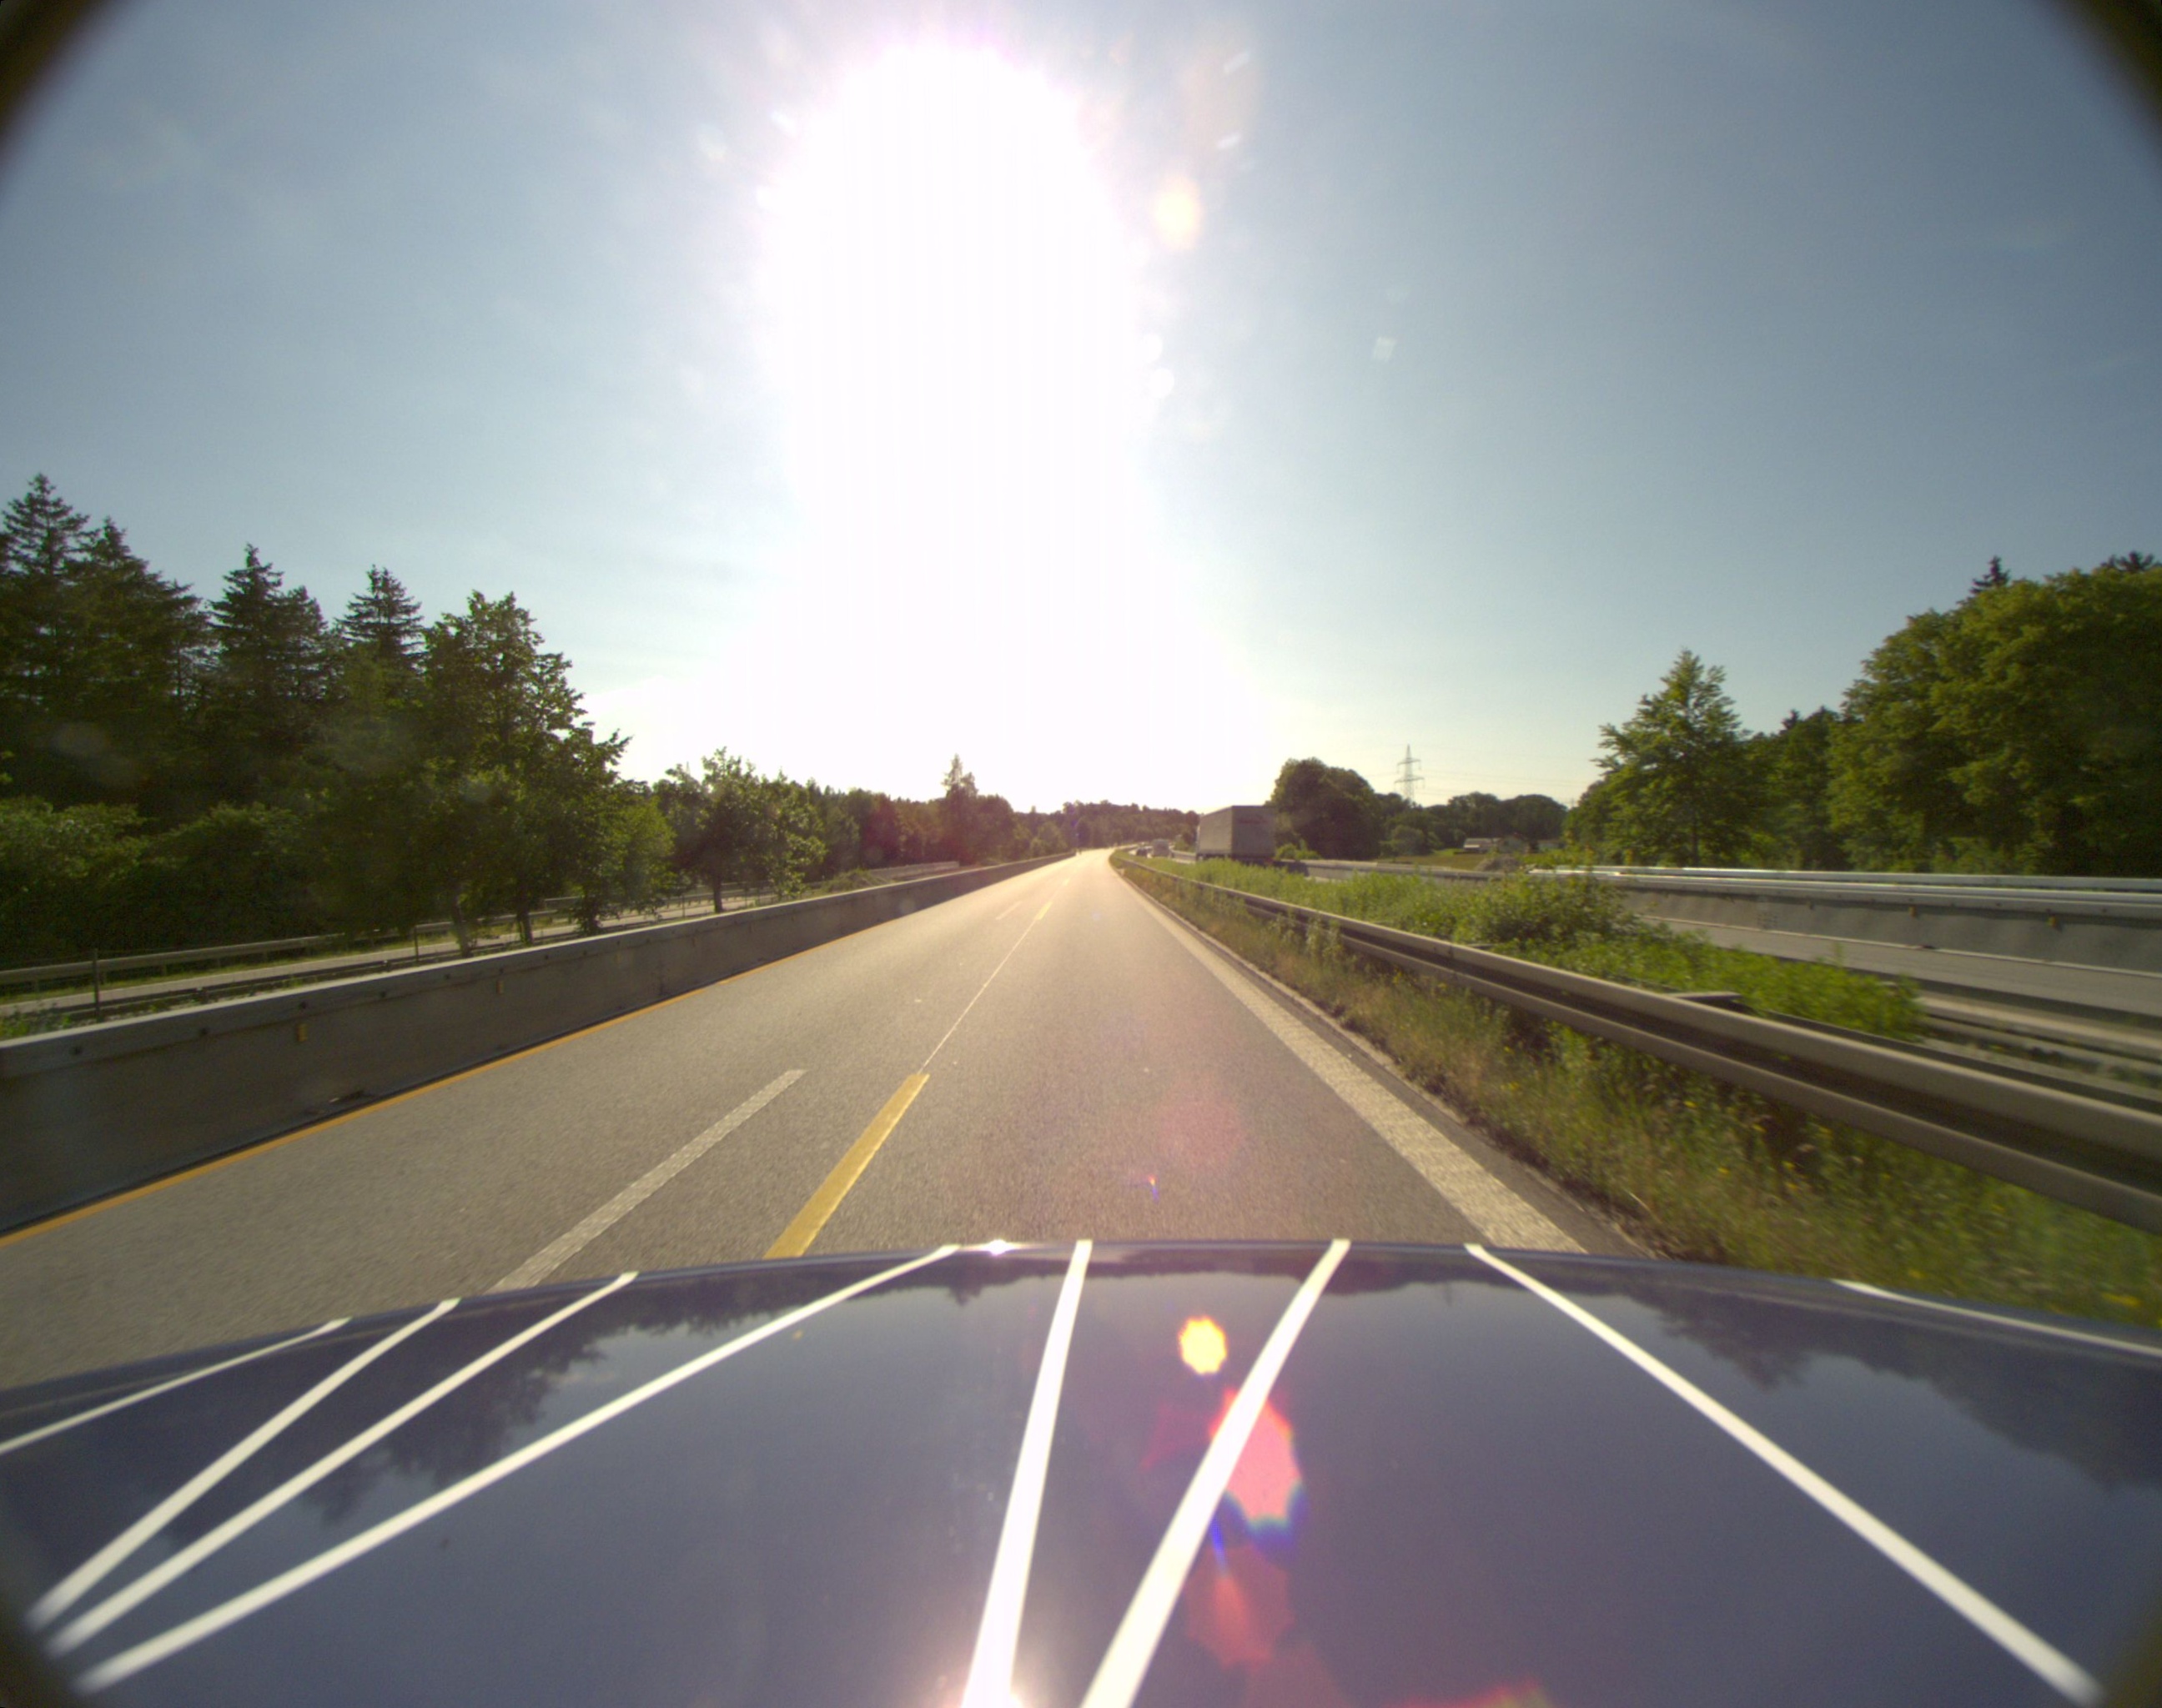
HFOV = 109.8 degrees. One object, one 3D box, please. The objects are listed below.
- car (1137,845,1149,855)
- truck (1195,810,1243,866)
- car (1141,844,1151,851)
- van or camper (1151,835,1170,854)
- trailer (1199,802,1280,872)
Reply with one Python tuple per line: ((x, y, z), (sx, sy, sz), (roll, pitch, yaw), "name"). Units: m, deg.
((9.943, -0.667, 121.464), (1.746, 1.521, 4.000), (1, 1, 2), "car")
((10.416, -1.183, 57.861), (2.777, 4.064, 5.475), (0, 1, 1), "truck")
((14.107, -1.401, 165.081), (1.705, 1.424, 4.955), (1, 1, 2), "car")
((12.213, -1.447, 117.512), (2.412, 2.933, 7.522), (-1, 1, 2), "van or camper")
((10.293, -1.084, 51.226), (2.748, 4.047, 13.995), (0, 1, 1), "trailer")
